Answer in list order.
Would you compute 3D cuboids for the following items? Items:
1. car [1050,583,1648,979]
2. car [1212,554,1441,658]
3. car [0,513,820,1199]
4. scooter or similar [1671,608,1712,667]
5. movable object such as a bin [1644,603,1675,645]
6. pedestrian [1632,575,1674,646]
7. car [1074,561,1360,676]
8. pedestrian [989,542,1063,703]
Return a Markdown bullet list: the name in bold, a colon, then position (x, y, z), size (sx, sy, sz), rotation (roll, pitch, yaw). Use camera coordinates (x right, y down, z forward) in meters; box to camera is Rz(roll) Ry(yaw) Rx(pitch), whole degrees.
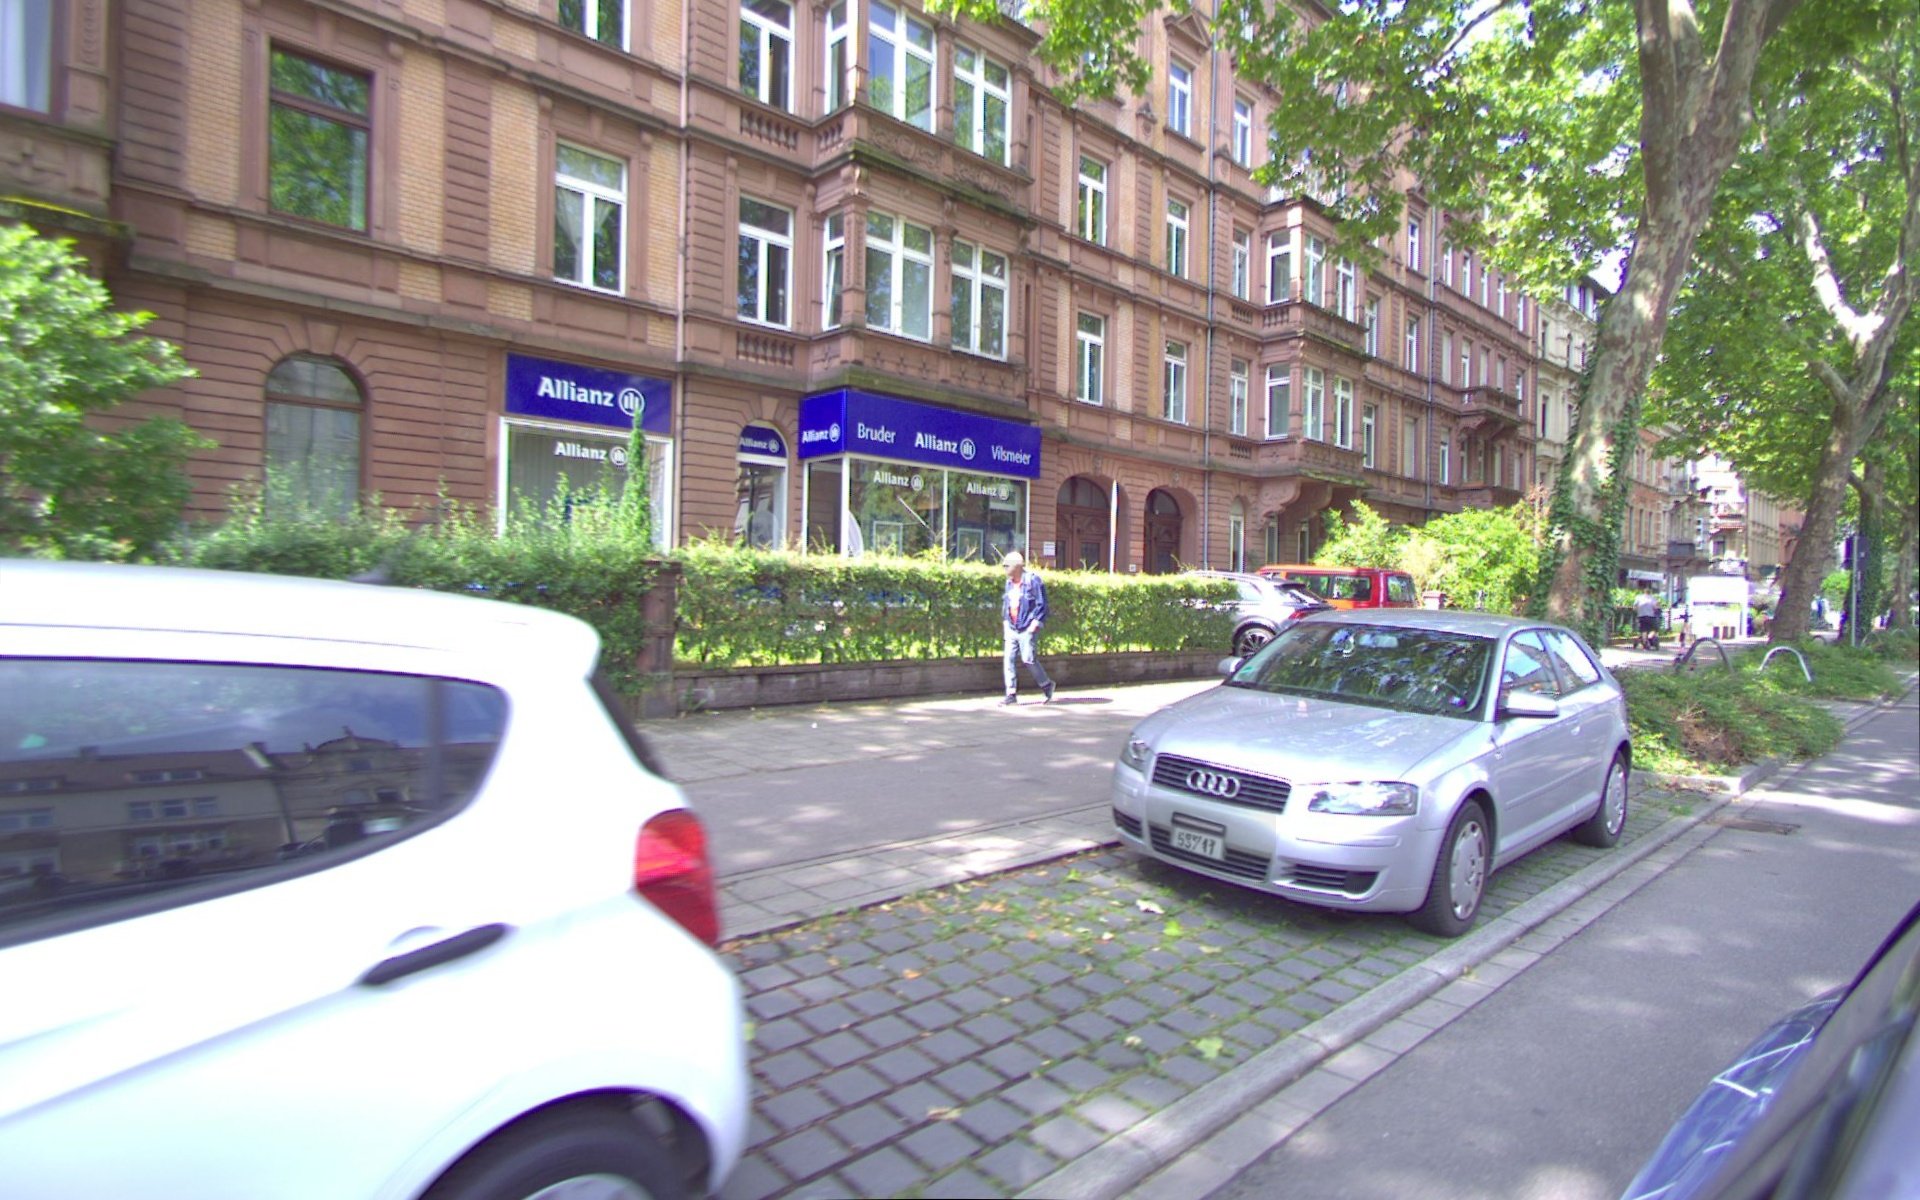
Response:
- **car**: position (2.409, 0.687, 5.740), size (3.793, 1.462, 1.680), rotation (1, 1, -43)
- **car**: position (8.177, 0.056, 22.900), size (1.949, 1.962, 4.405), rotation (1, 3, -42)
- **car**: position (-2.232, 0.610, 1.368), size (3.793, 1.503, 1.556), rotation (1, 4, -43)
- **scooter or similar**: position (15.955, 0.801, 22.069), size (1.301, 1.226, 0.467), rotation (1, 0, -43)
- **movable object such as a bin**: position (21.359, 0.710, 30.892), size (0.607, 1.224, 1.042), rotation (4, 2, 41)
- **pedestrian**: position (20.689, 0.295, 30.215), size (0.764, 2.038, 1.103), rotation (5, 2, 42)
- **car**: position (4.637, 0.242, 18.670), size (4.715, 1.804, 1.976), rotation (3, 2, 40)
- **pedestrian**: position (0.769, 0.249, 11.760), size (0.619, 1.808, 0.565), rotation (1, 0, -43)
